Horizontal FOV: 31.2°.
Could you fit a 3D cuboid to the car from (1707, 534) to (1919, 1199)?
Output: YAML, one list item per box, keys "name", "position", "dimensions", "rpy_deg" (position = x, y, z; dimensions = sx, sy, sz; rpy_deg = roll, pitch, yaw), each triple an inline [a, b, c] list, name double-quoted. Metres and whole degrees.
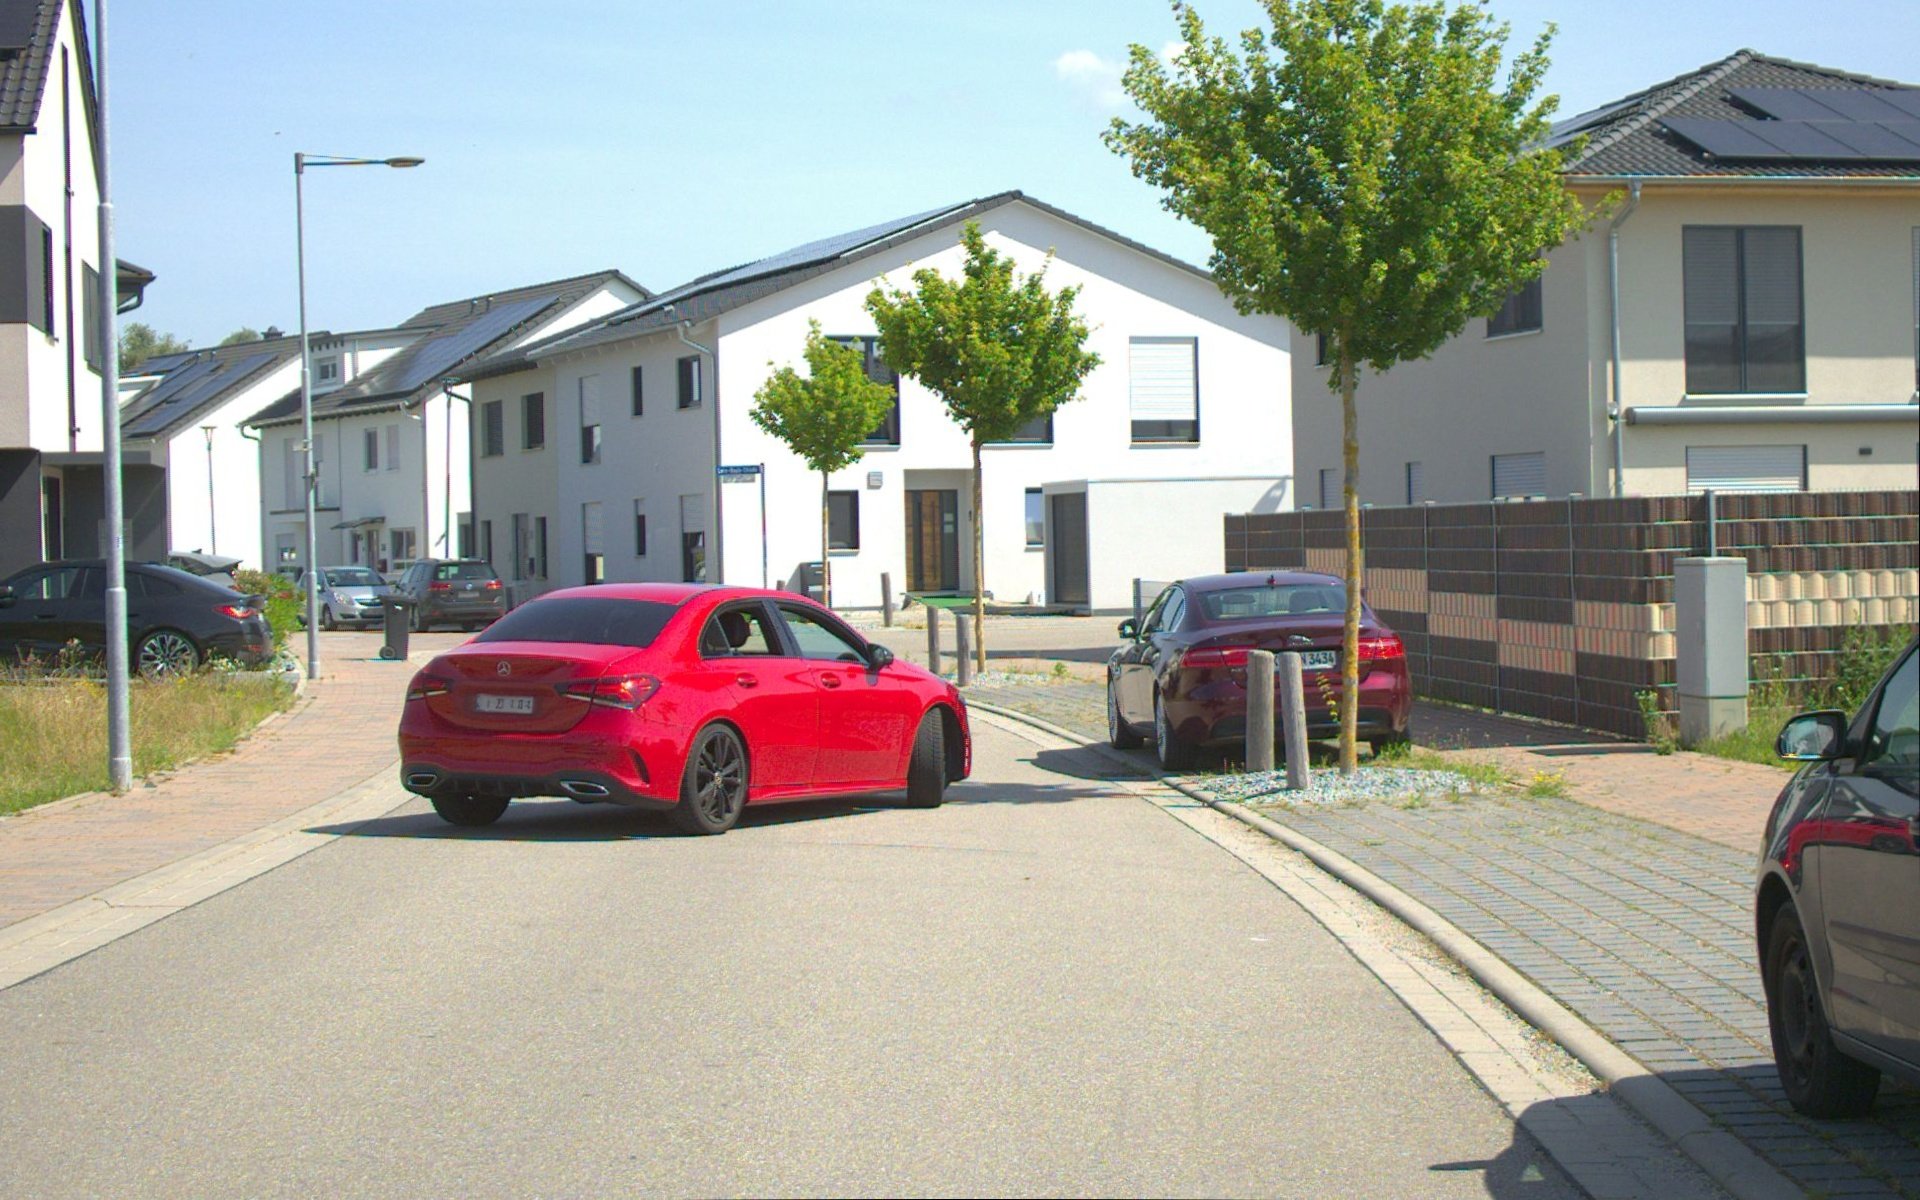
- name: "car"
  position: [2.864, 0.593, 7.548]
  dimensions: [1.598, 1.470, 3.675]
  rpy_deg: [0, 1, -1]

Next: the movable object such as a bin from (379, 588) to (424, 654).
- name: "movable object such as a bin"
  position: [-7.977, 0.299, 49.104]
  dimensions: [0.534, 0.933, 0.526]
  rpy_deg: [1, 1, 1]

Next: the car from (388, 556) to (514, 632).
- name: "car"
  position: [-10.185, -0.135, 68.633]
  dimensions: [1.726, 1.418, 4.001]
  rpy_deg: [-2, 1, -19]

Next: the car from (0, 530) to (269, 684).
- name: "car"
  position: [-10.051, 0.048, 38.535]
  dimensions: [4.374, 1.626, 1.771]
  rpy_deg: [1, 0, -8]

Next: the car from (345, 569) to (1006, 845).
- name: "car"
  position: [-1.555, 0.546, 20.586]
  dimensions: [1.765, 1.433, 4.512]
  rpy_deg: [0, 1, 28]

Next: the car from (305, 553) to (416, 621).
- name: "car"
  position: [-13.634, -0.299, 78.051]
  dimensions: [1.676, 1.459, 3.945]
  rpy_deg: [-2, 1, -22]

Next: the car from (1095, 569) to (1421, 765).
- name: "car"
  position: [2.198, 0.453, 26.585]
  dimensions: [1.754, 1.358, 4.576]
  rpy_deg: [0, 1, -5]

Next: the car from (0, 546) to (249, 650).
- name: "car"
  position: [-12.732, -0.045, 51.285]
  dimensions: [3.986, 1.481, 1.755]
  rpy_deg: [-1, 1, -6]
